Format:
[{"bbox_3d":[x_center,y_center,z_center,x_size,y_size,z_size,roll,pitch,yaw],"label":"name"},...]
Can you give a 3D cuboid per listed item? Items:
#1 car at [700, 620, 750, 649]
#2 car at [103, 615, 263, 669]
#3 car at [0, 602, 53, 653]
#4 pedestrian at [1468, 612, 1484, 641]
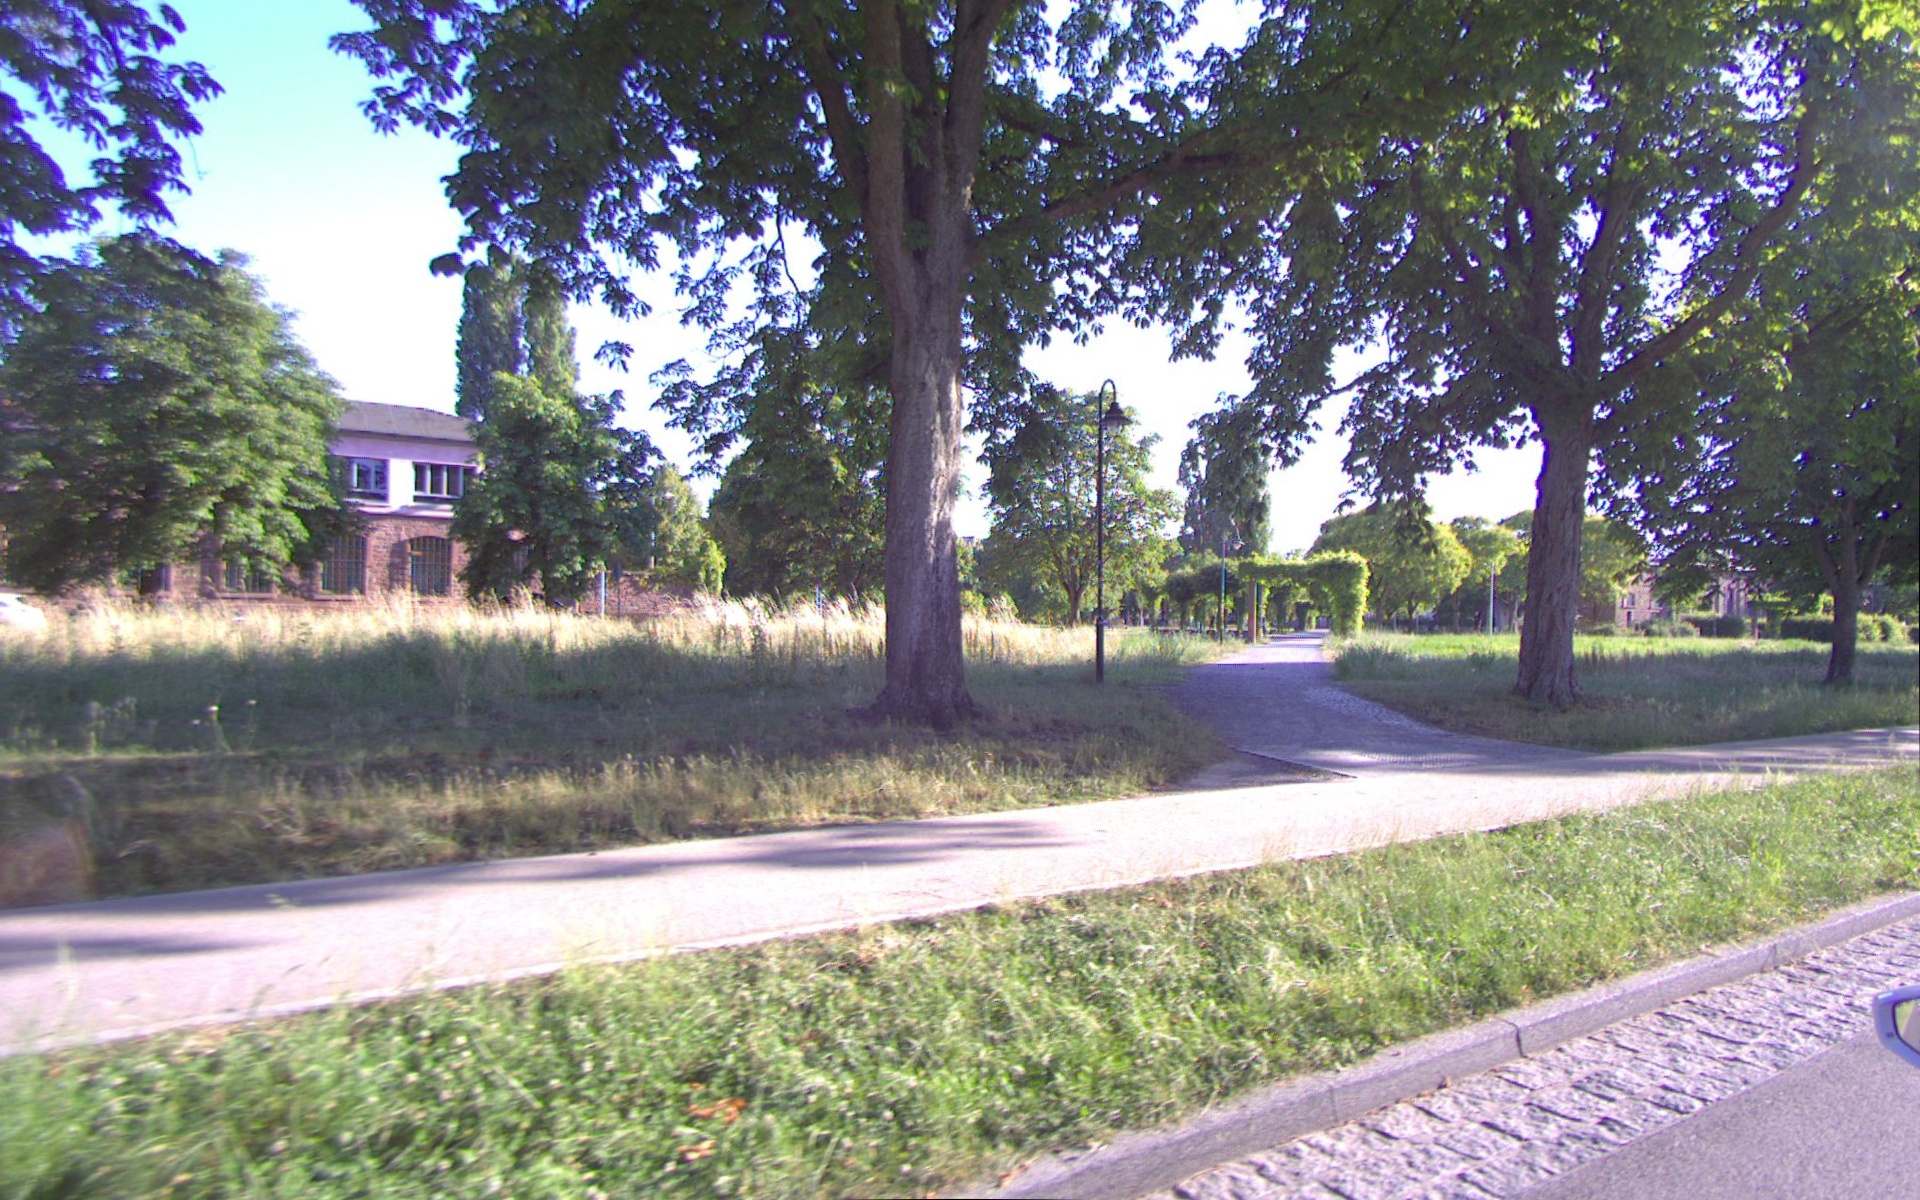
[{"bbox_3d":[-11.959,1.722,51.002,1.567,1.297,3.613,2,0,-28],"label":"car"},{"bbox_3d":[-25.573,1.368,33.236,3.953,1.651,1.753,1,0,-30],"label":"car"},{"bbox_3d":[-30.333,0.814,30.563,3.752,1.499,1.754,2,0,-31],"label":"car"},{"bbox_3d":[32.533,1.665,63.325,0.764,1.747,0.714,2,0,32],"label":"pedestrian"}]
